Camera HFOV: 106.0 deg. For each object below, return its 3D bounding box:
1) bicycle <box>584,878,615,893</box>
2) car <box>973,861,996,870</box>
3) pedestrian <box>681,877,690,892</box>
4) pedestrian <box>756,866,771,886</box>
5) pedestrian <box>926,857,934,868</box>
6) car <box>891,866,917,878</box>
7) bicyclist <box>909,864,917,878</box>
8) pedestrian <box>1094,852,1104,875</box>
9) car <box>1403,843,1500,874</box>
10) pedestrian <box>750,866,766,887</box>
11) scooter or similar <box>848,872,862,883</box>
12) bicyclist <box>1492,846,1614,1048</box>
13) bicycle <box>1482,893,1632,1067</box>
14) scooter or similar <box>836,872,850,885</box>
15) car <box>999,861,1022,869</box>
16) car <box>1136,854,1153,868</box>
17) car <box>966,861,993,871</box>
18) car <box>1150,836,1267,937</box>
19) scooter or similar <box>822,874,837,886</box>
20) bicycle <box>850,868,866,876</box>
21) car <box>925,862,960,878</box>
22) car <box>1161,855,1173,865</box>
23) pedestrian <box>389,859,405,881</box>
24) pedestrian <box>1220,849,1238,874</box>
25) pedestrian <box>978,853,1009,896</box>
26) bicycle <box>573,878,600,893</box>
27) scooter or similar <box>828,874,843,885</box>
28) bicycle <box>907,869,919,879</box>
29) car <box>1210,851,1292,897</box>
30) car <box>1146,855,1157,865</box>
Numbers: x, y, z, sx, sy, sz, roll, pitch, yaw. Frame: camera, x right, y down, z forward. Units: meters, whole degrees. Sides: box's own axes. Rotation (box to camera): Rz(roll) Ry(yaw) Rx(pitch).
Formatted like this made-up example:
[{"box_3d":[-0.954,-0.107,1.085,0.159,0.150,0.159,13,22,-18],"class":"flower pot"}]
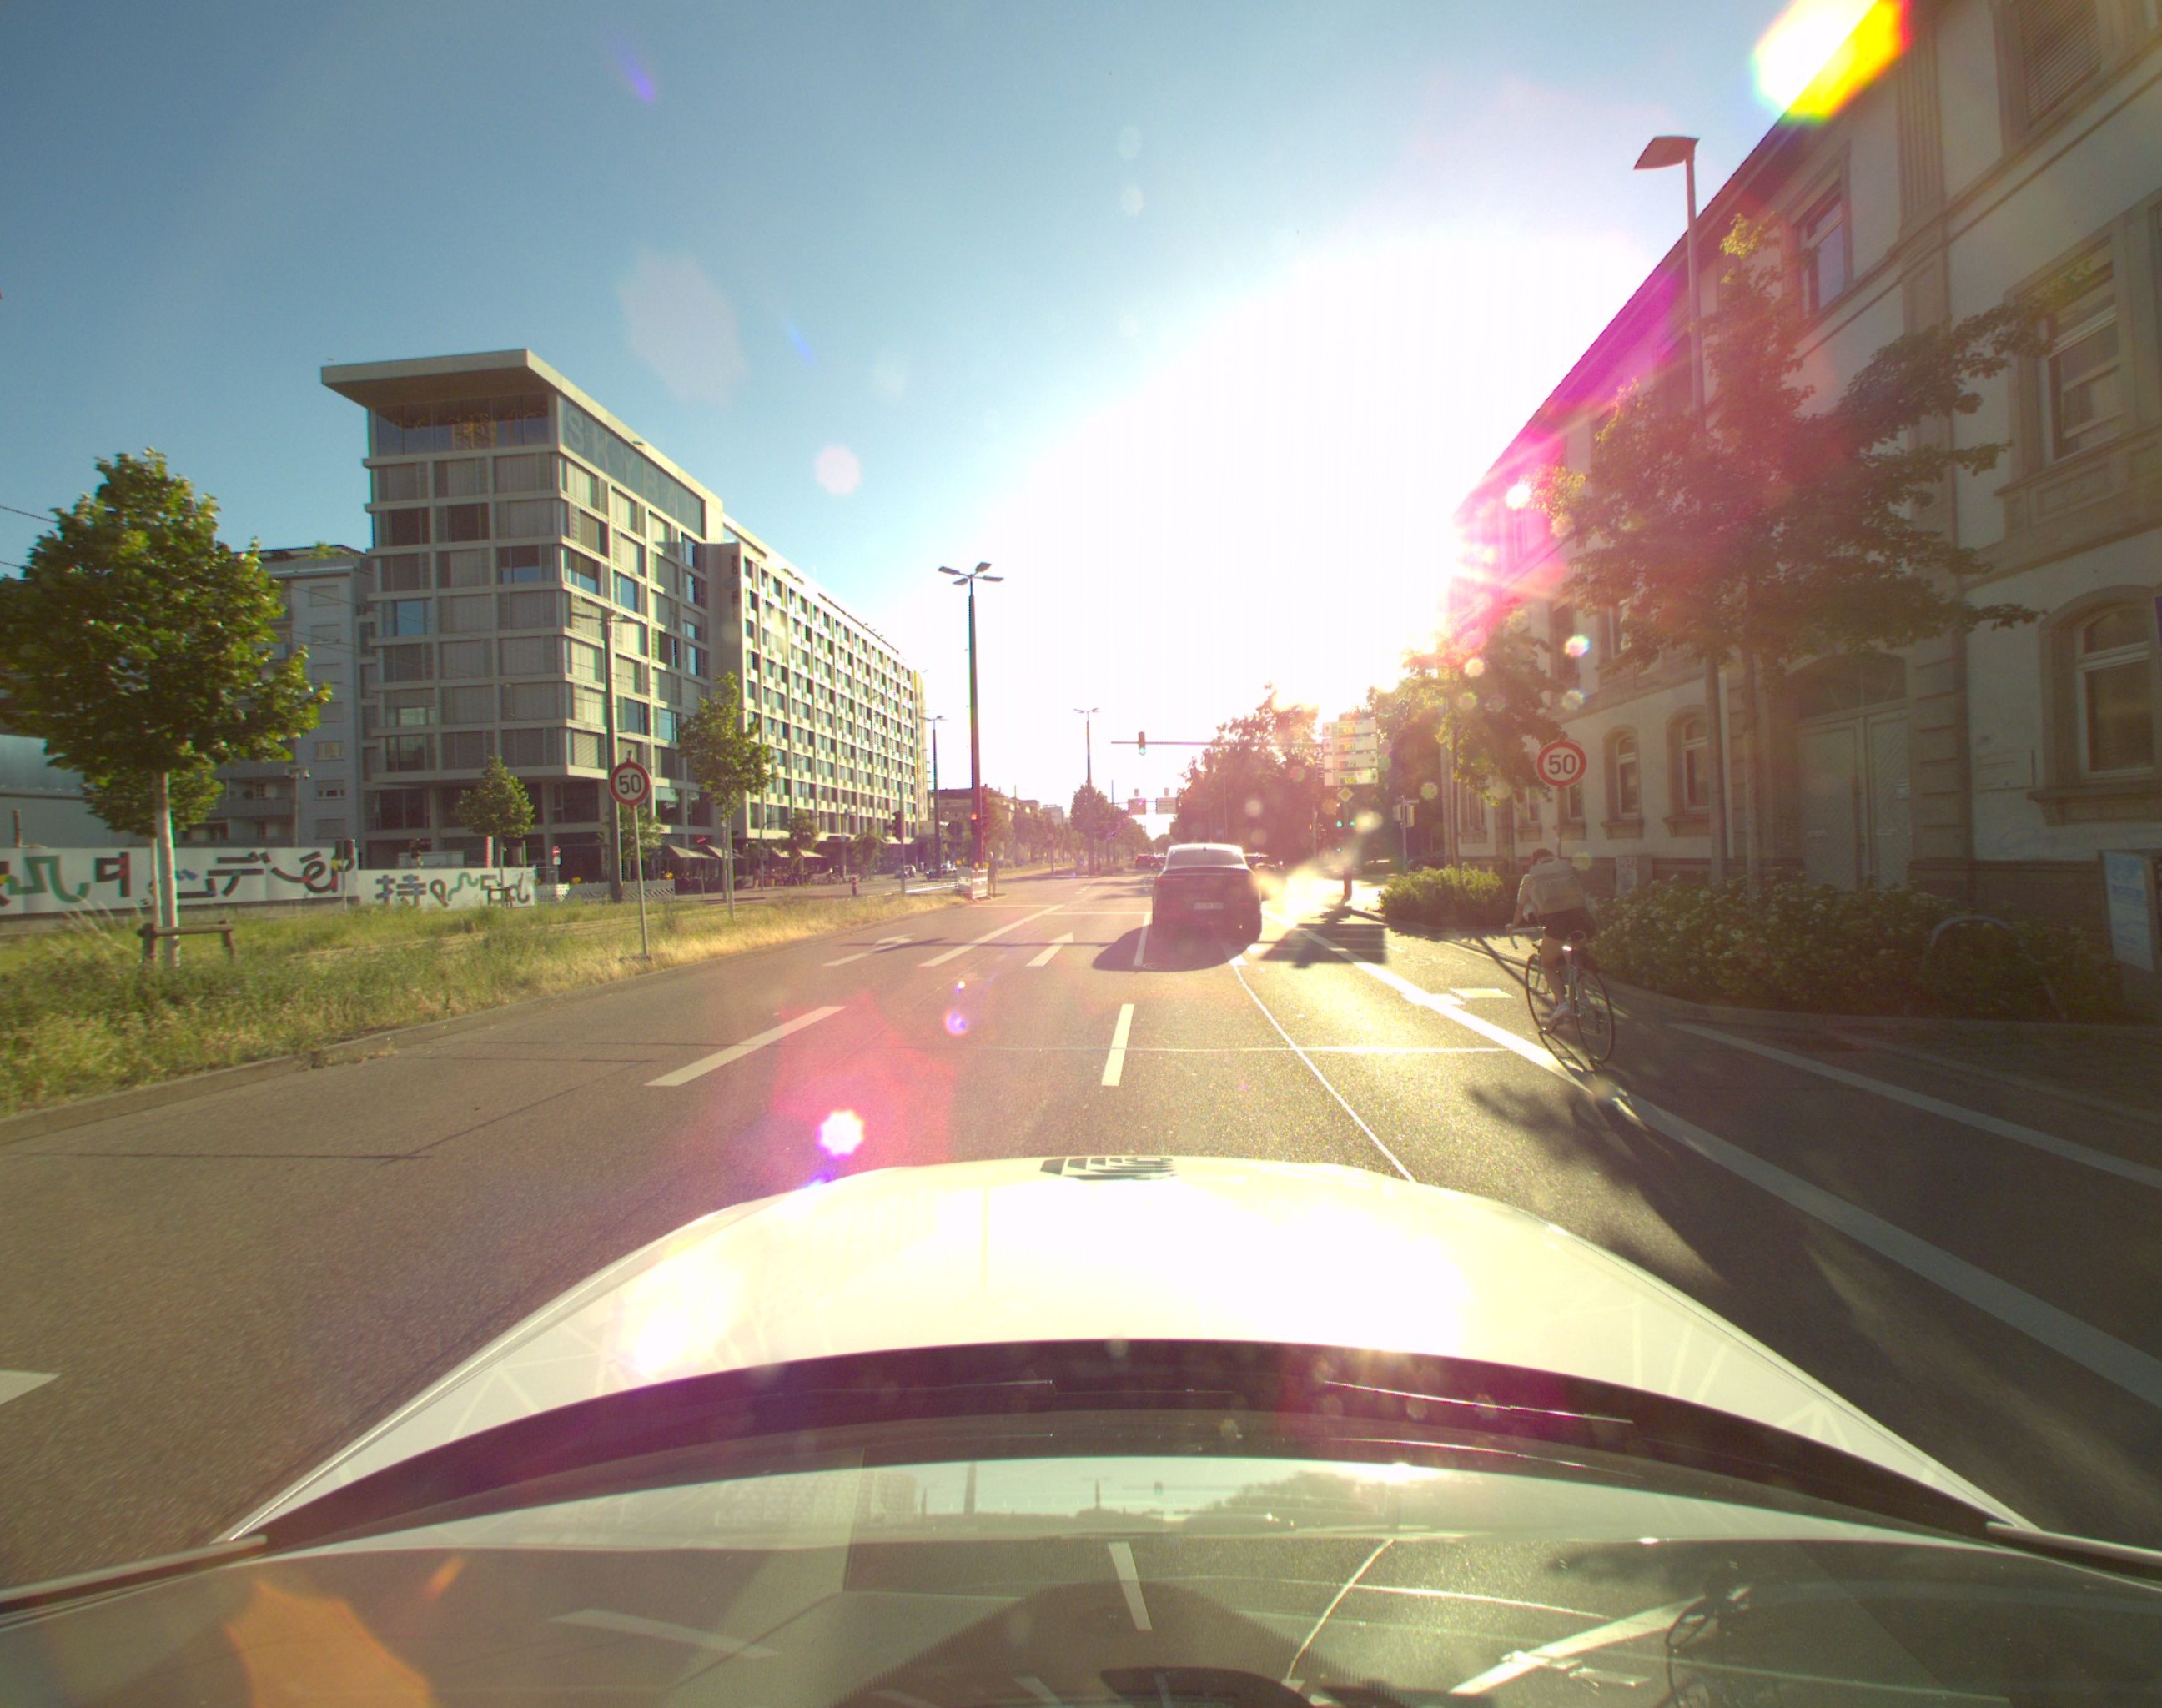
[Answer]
[{"box_3d":[-33.565,2.177,56.811,0.615,0.936,2.220,-2,0,6],"class":"bicycle"},{"box_3d":[-16.528,1.980,139.277,3.640,1.523,1.603,0,-1,-35],"class":"car"},{"box_3d":[-32.148,2.456,66.166,0.429,1.222,0.498,-2,0,6],"class":"pedestrian"},{"box_3d":[-27.278,1.892,70.016,0.863,1.721,0.807,-2,0,15],"class":"pedestrian"},{"box_3d":[-22.738,1.287,122.582,0.839,1.653,0.972,-2,0,8],"class":"pedestrian"},{"box_3d":[-20.952,2.092,96.655,1.747,1.328,4.007,-1,0,7],"class":"car"},{"box_3d":[-18.958,1.915,92.120,0.621,1.465,0.853,-2,0,7],"class":"bicyclist"},{"box_3d":[1.421,0.728,62.625,0.594,1.699,0.716,-2,0,11],"class":"pedestrian"},{"box_3d":[19.917,0.240,43.796,4.542,1.474,1.915,-2,-1,30],"class":"car"},{"box_3d":[-27.442,1.893,69.233,0.863,1.721,0.807,-2,0,15],"class":"pedestrian"},{"box_3d":[-22.477,2.370,81.156,1.237,1.019,0.436,-2,0,7],"class":"scooter or similar"},{"box_3d":[3.778,0.690,6.595,0.548,1.491,1.085,-2,0,15],"class":"bicyclist"},{"box_3d":[3.779,0.927,6.616,0.517,1.097,1.850,-2,0,14],"class":"bicycle"},{"box_3d":[-22.978,2.367,78.648,1.237,1.172,0.407,-2,0,7],"class":"scooter or similar"},{"box_3d":[-14.168,2.273,163.715,4.017,1.563,1.978,-1,0,-36],"class":"car"},{"box_3d":[7.419,0.828,95.419,1.876,1.580,4.006,-1,0,5],"class":"car"},{"box_3d":[-16.876,1.958,135.784,4.113,1.601,1.731,1,0,-35],"class":"car"},{"box_3d":[2.497,0.552,16.161,1.982,1.734,4.010,-1,0,8],"class":"car"},{"box_3d":[-23.203,2.373,75.117,1.237,1.019,0.512,-2,0,7],"class":"scooter or similar"},{"box_3d":[-27.770,2.267,101.322,1.798,0.905,0.512,-2,0,-1],"class":"bicycle"},{"box_3d":[-12.618,1.447,74.408,1.882,1.343,4.858,-2,0,6],"class":"car"},{"box_3d":[13.733,0.935,129.980,1.876,1.580,4.006,-1,0,5],"class":"car"},{"box_3d":[-47.678,1.113,56.730,0.583,1.498,0.578,-2,-1,8],"class":"pedestrian"},{"box_3d":[11.043,0.593,60.929,0.862,1.802,0.899,-4,0,-29],"class":"pedestrian"},{"box_3d":[-3.442,0.786,31.969,0.917,1.649,0.769,-2,-1,18],"class":"pedestrian"},{"box_3d":[-34.487,2.187,56.815,0.533,0.936,1.904,-2,0,6],"class":"bicycle"},{"box_3d":[-23.059,2.373,76.639,1.237,1.019,0.436,-2,0,7],"class":"scooter or similar"},{"box_3d":[-18.967,2.258,92.100,0.621,1.067,2.082,-2,0,7],"class":"bicycle"},{"box_3d":[6.335,0.703,30.025,1.879,1.527,4.083,-1,0,28],"class":"car"},{"box_3d":[12.179,0.980,140.228,1.876,1.580,4.006,-1,0,5],"class":"car"}]
